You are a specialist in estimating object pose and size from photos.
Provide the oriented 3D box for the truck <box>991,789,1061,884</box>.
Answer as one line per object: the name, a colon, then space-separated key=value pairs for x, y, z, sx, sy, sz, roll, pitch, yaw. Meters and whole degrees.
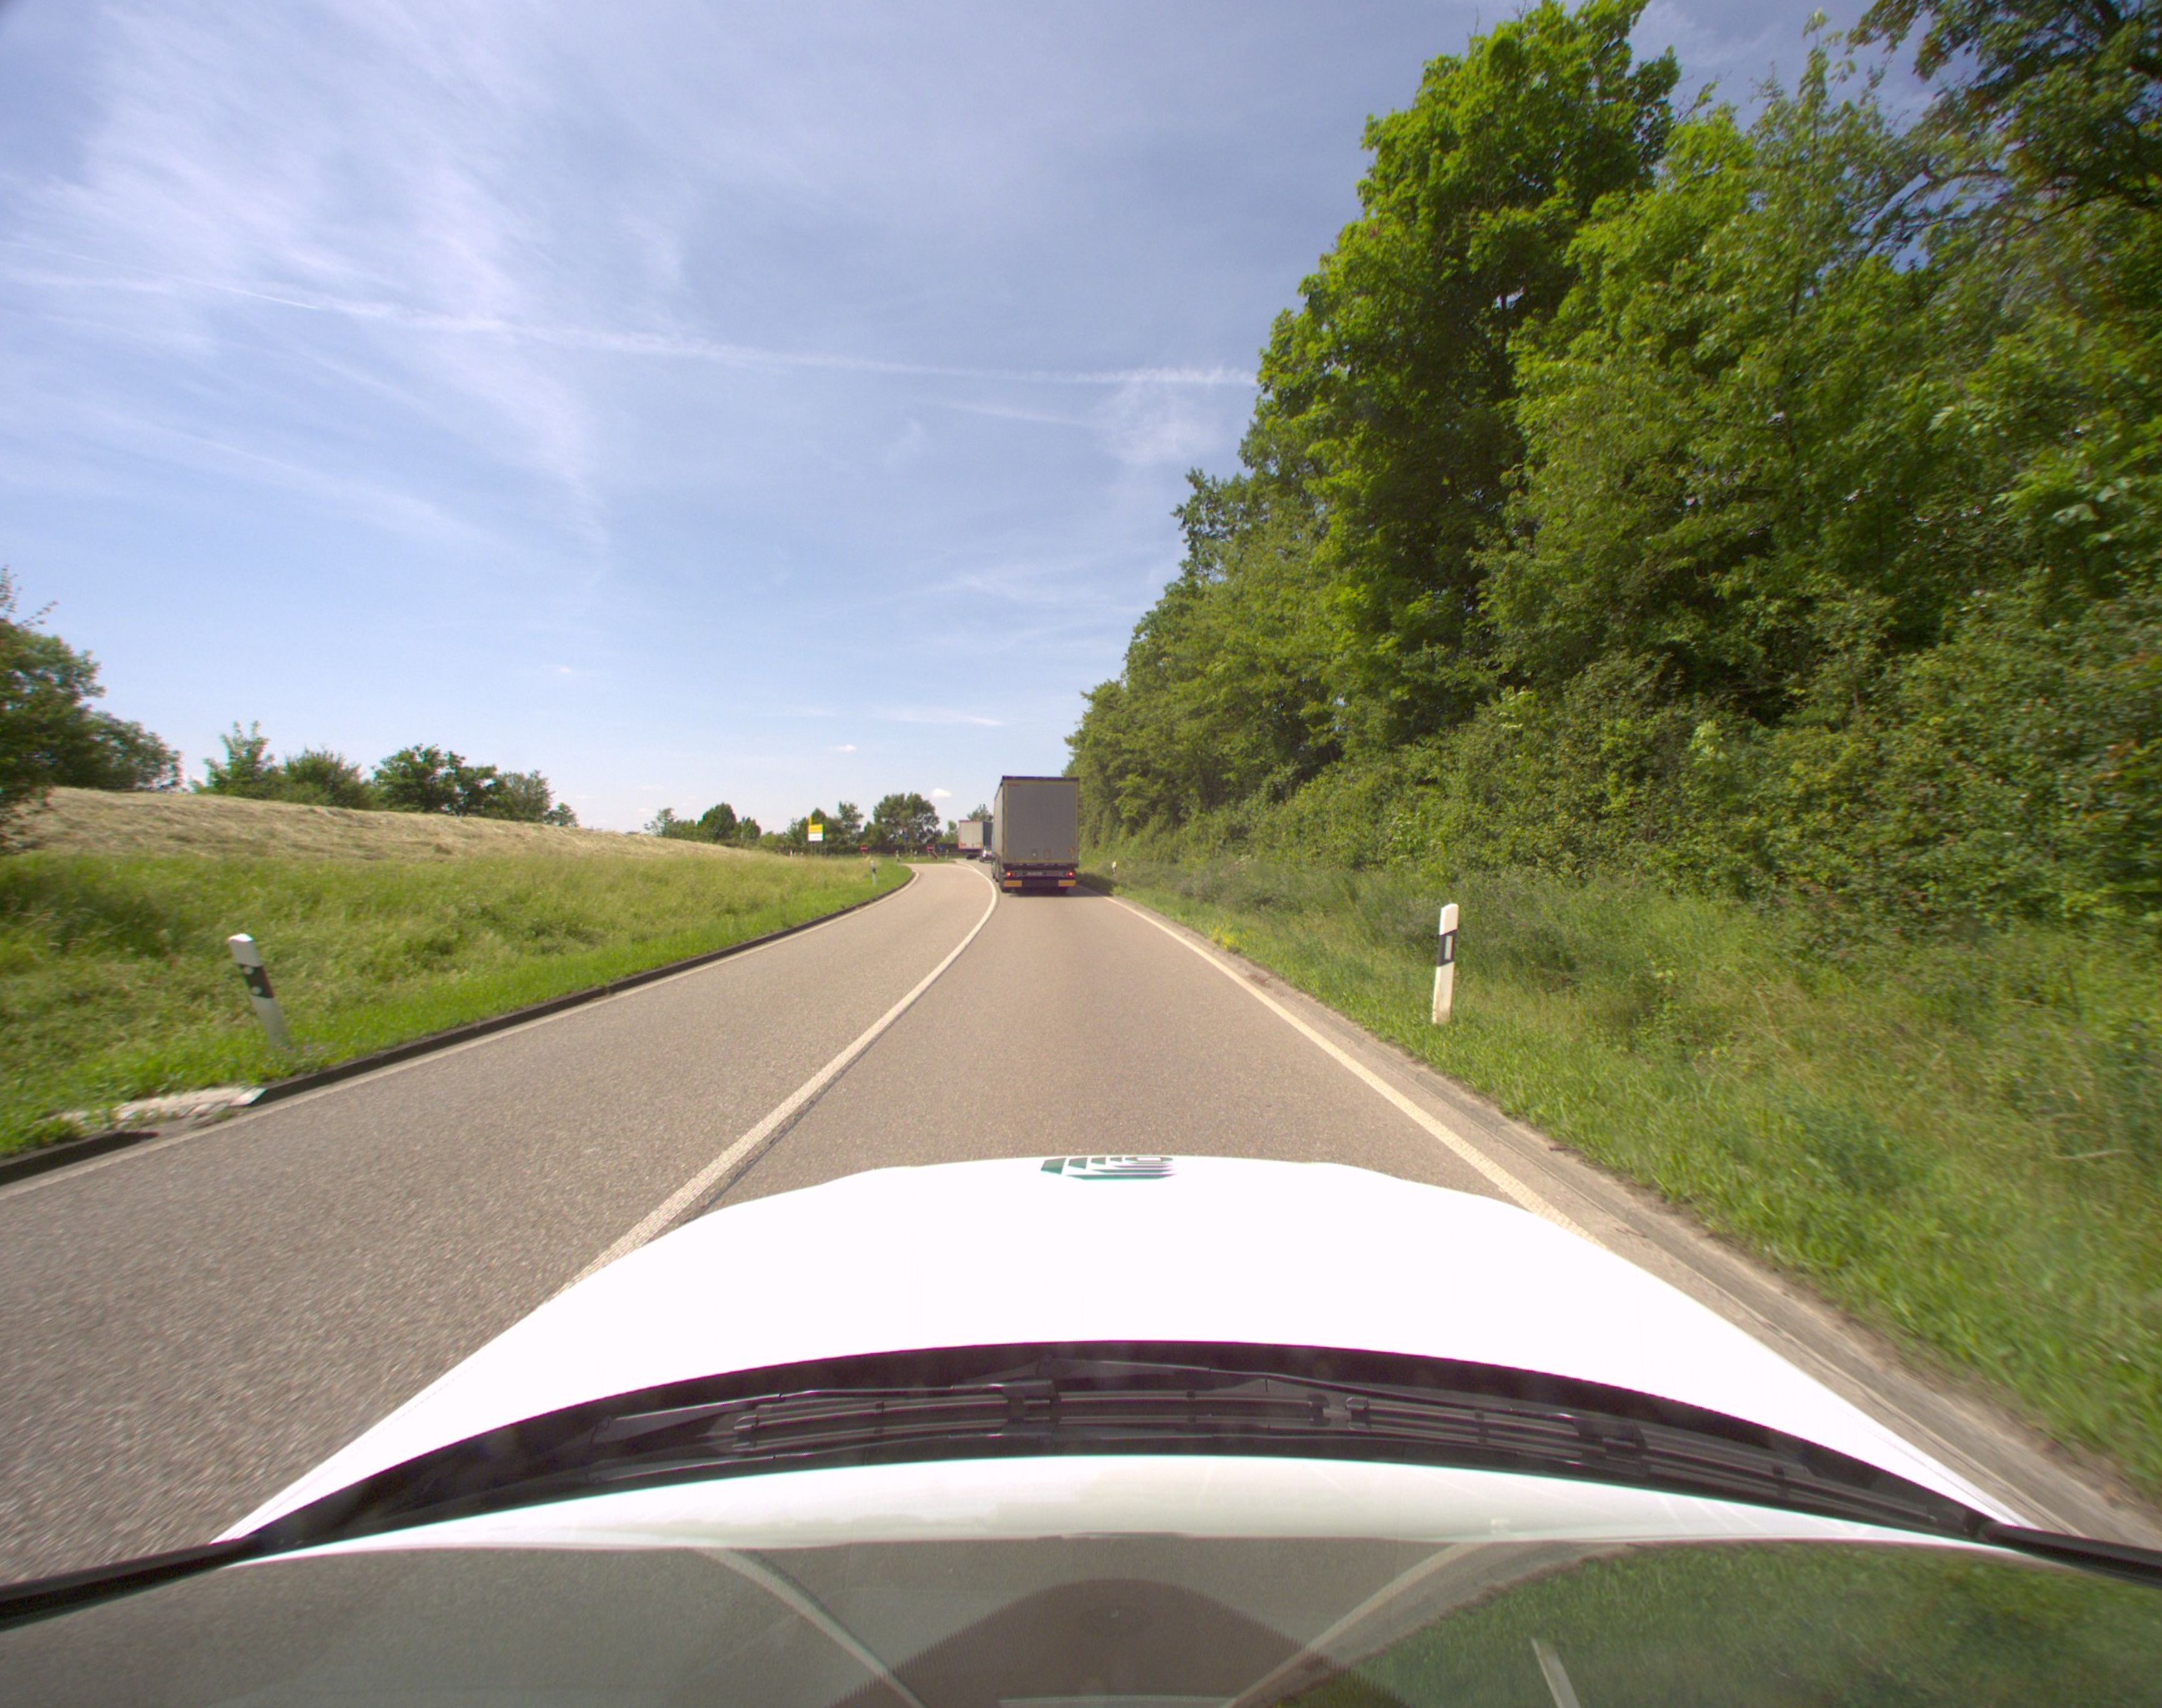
truck: x=-2.863 y=-0.762 z=40.351 sx=3.149 sy=4.225 sz=7.106 roll=1 pitch=0 yaw=-6

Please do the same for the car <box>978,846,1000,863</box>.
car: x=-8.205 y=0.015 z=72.334 sx=1.666 sy=1.486 sz=3.986 roll=0 pitch=1 yaw=-11

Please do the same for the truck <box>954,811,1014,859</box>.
truck: x=-10.470 y=-1.972 z=90.297 sx=3.812 sy=4.744 sz=16.218 roll=-1 pitch=0 yaw=3

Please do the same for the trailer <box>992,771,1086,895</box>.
trailer: x=-2.078 y=-0.666 z=33.205 sx=3.024 sy=4.034 sz=13.321 roll=0 pitch=0 yaw=-6
